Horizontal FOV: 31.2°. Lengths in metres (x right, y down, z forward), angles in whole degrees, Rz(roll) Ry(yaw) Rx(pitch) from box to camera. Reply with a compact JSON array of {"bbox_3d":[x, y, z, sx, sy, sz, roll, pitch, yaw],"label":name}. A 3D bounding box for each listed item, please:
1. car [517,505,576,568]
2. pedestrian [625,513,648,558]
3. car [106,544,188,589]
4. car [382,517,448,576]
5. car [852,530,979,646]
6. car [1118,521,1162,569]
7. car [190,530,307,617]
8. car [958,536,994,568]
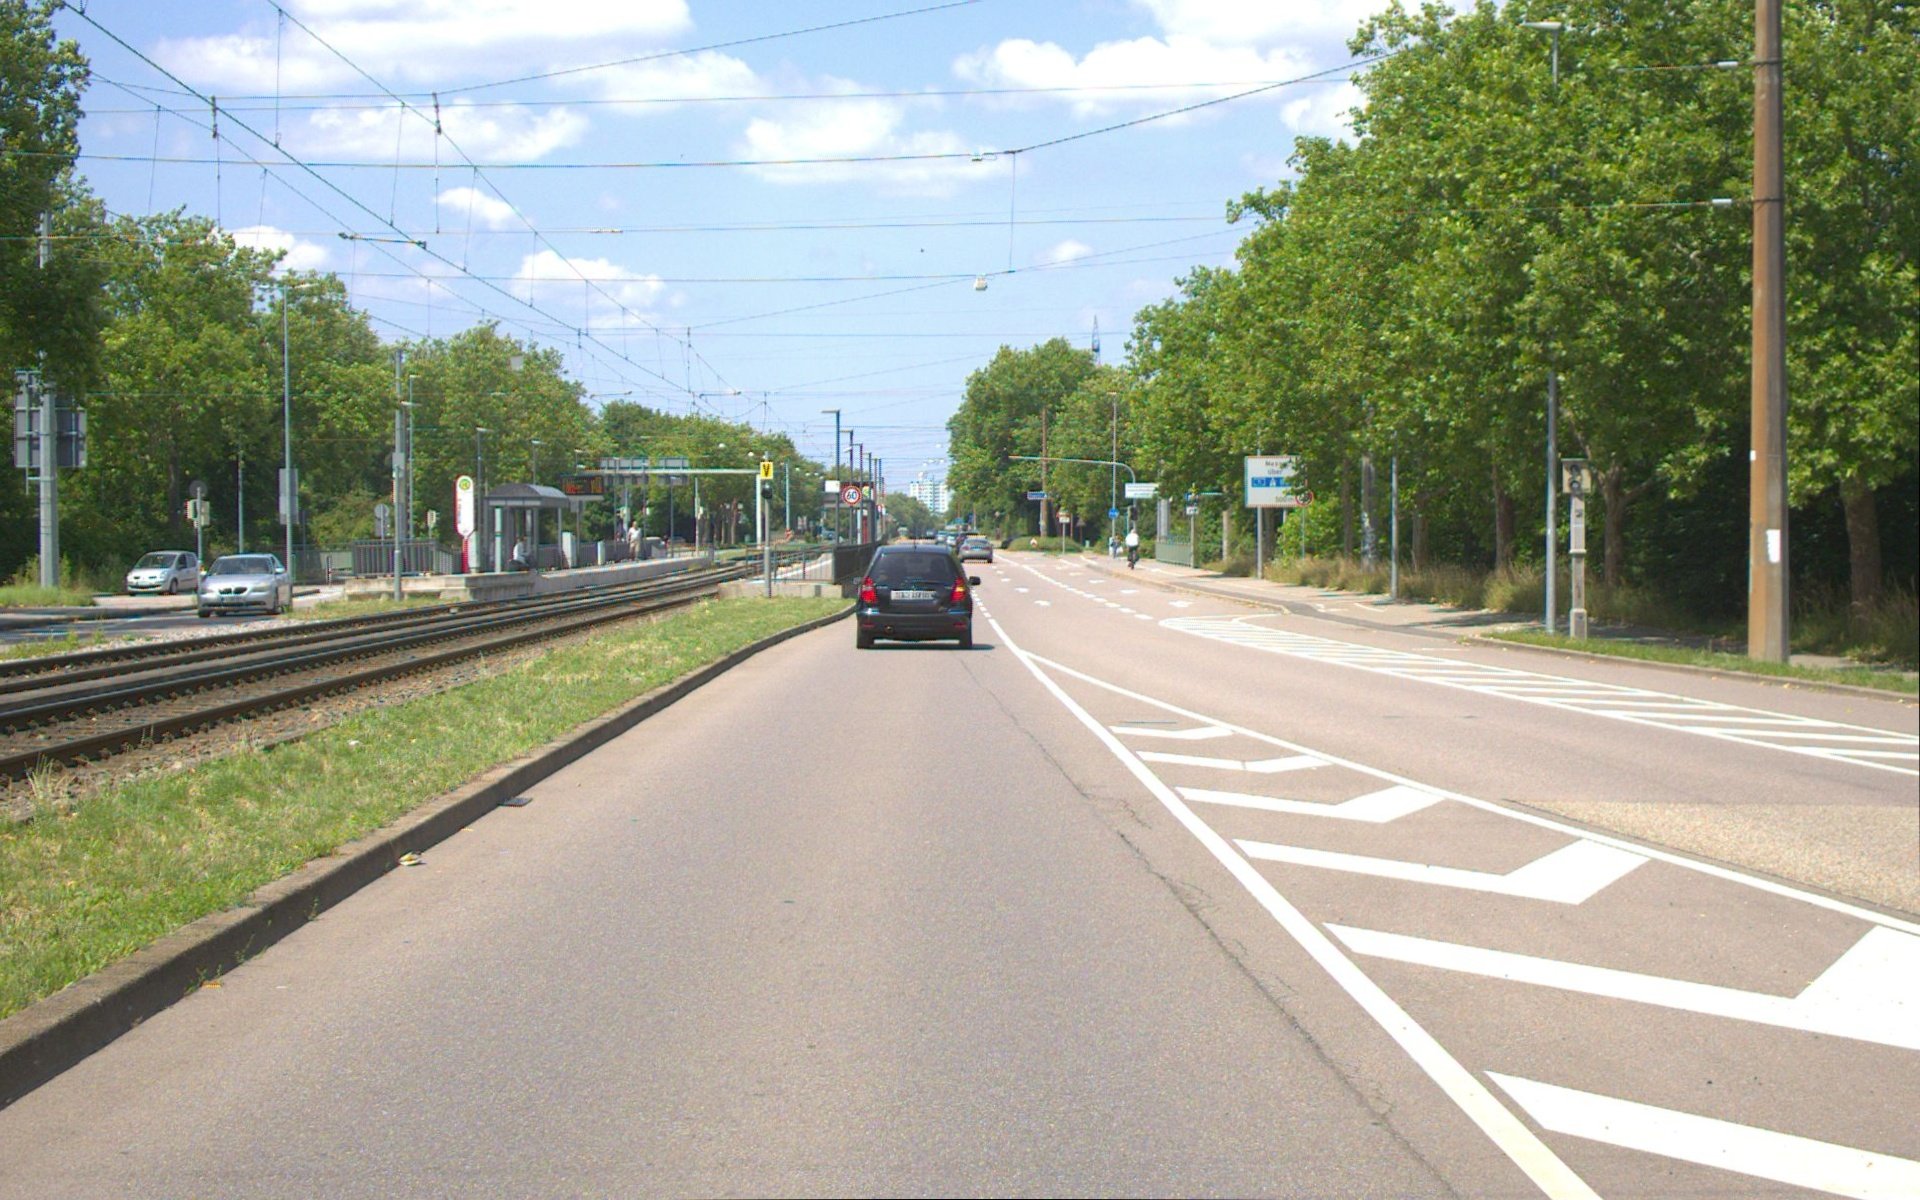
[{"bbox_3d":[-13.952,-2.170,116.140,1.585,2.006,4.111,1,2,-2],"label":"car"},{"bbox_3d":[-14.486,-2.897,153.915,0.952,2.006,0.892,1,2,-1],"label":"pedestrian"},{"bbox_3d":[-28.990,-1.218,122.658,1.993,1.568,4.000,0,1,0],"label":"car"},{"bbox_3d":[-19.765,-1.946,124.847,1.993,2.006,4.001,1,2,-4],"label":"car"},{"bbox_3d":[-0.644,-0.228,53.241,1.853,1.564,4.389,1,3,0],"label":"car"},{"bbox_3d":[7.899,-2.416,151.078,1.612,2.006,3.440,1,2,-1],"label":"car"},{"bbox_3d":[-16.774,-0.649,81.211,1.993,2.007,4.000,0,1,-1],"label":"car"},{"bbox_3d":[0.889,-2.700,192.603,1.885,1.634,4.000,4,2,0],"label":"car"}]
